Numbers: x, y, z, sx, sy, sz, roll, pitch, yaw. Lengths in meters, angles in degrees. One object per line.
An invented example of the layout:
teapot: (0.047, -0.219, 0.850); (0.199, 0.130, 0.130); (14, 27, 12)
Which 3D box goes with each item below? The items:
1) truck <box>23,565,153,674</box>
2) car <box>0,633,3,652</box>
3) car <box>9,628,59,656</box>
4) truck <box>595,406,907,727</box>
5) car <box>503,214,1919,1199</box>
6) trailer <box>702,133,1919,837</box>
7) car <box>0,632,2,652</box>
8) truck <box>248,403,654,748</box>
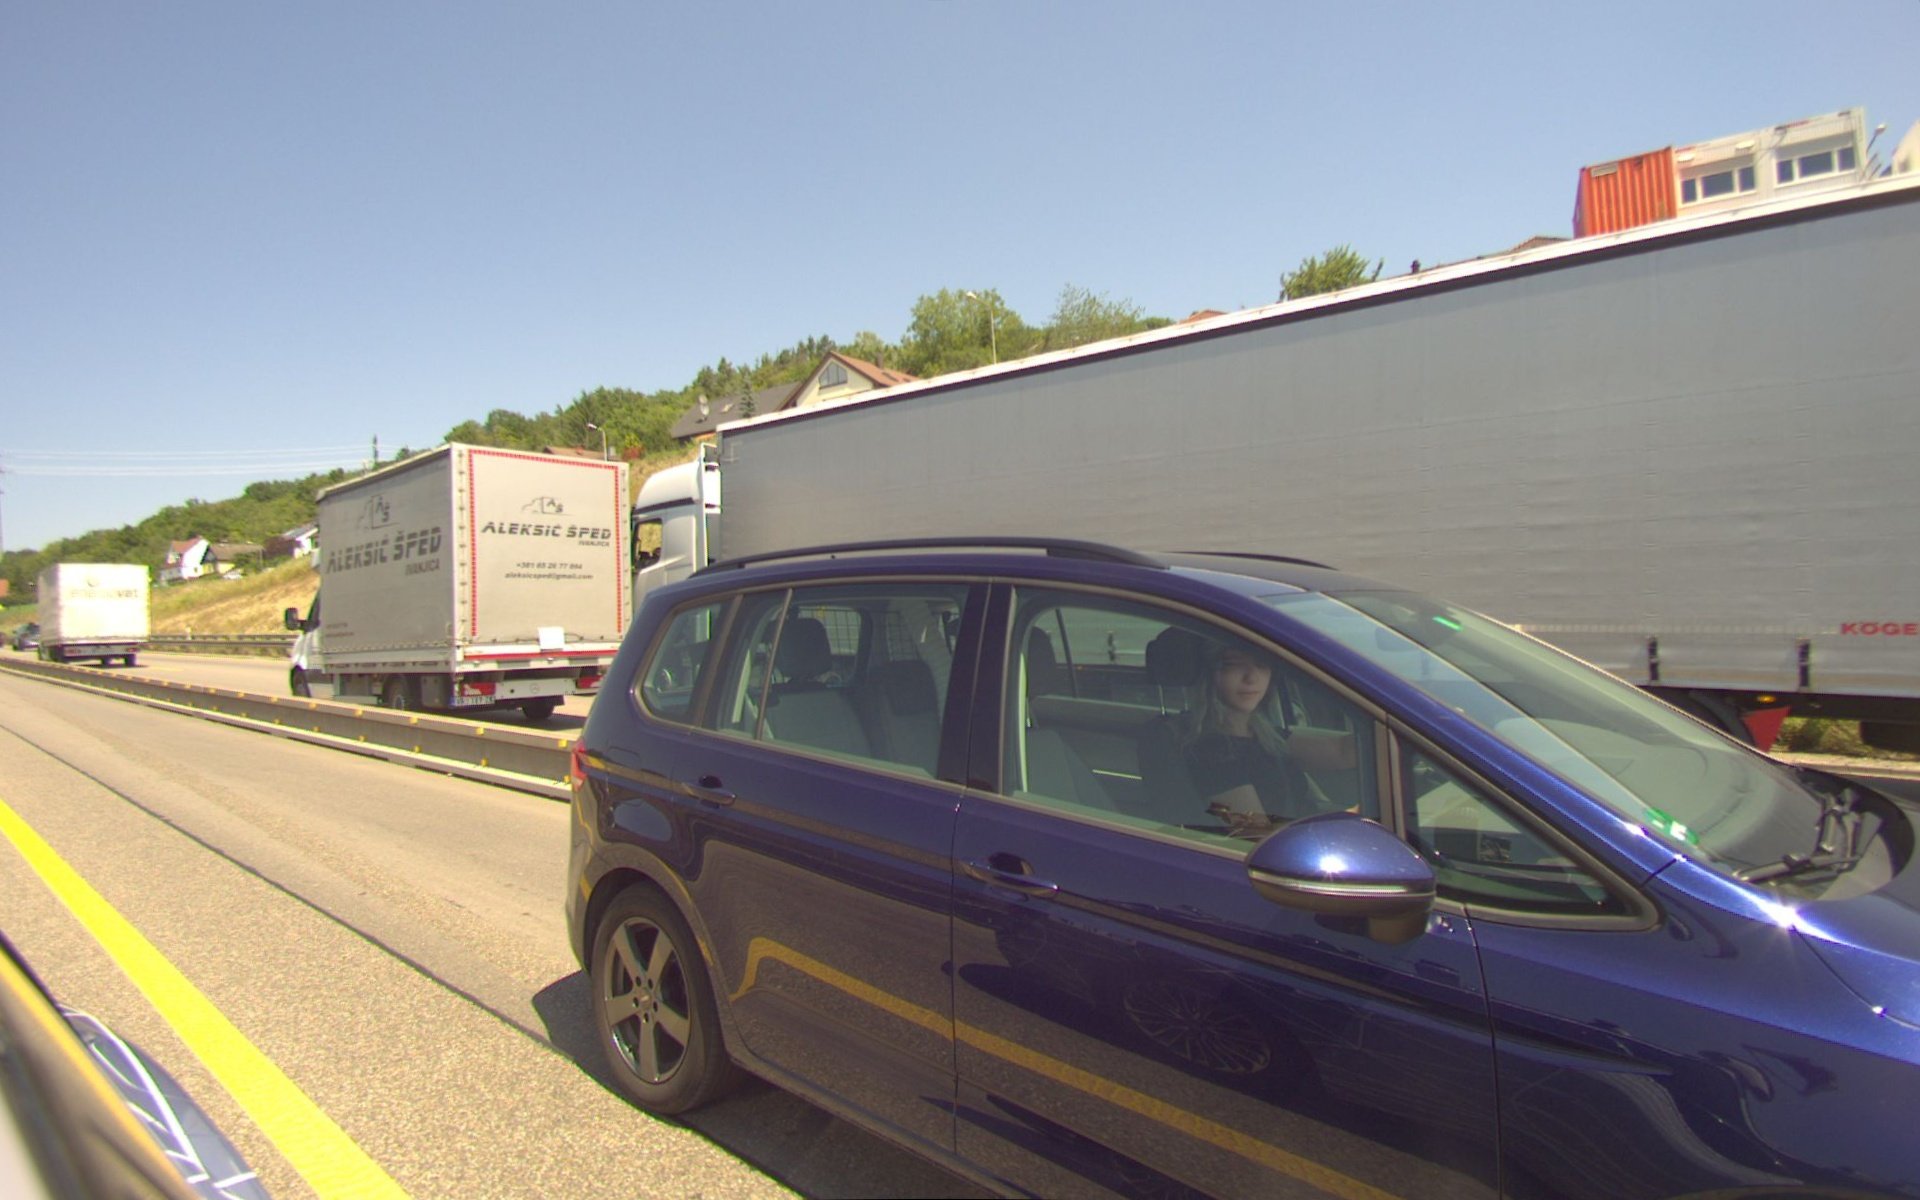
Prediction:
truck: (-30.170, 0.685, 34.904); (7.035, 3.399, 2.511); (-2, -1, 42)
car: (-78.548, 3.515, 81.546); (4.334, 1.506, 1.757); (-3, -2, 42)
car: (-58.420, 2.656, 63.819); (4.666, 1.684, 1.835); (-2, -1, 41)
truck: (-3.179, -0.395, 15.197); (3.952, 4.080, 2.670); (-2, -1, 41)
car: (0.764, 0.475, 2.595); (4.650, 1.731, 1.757); (-3, -2, 41)
trailer: (2.590, -0.545, 10.178); (13.694, 4.055, 2.670); (-2, -1, 41)
car: (-78.917, 3.402, 81.812); (5.123, 1.597, 1.667); (-2, -1, 41)
truck: (-7.582, -0.190, 14.494); (7.354, 3.787, 2.563); (-2, -1, 41)
